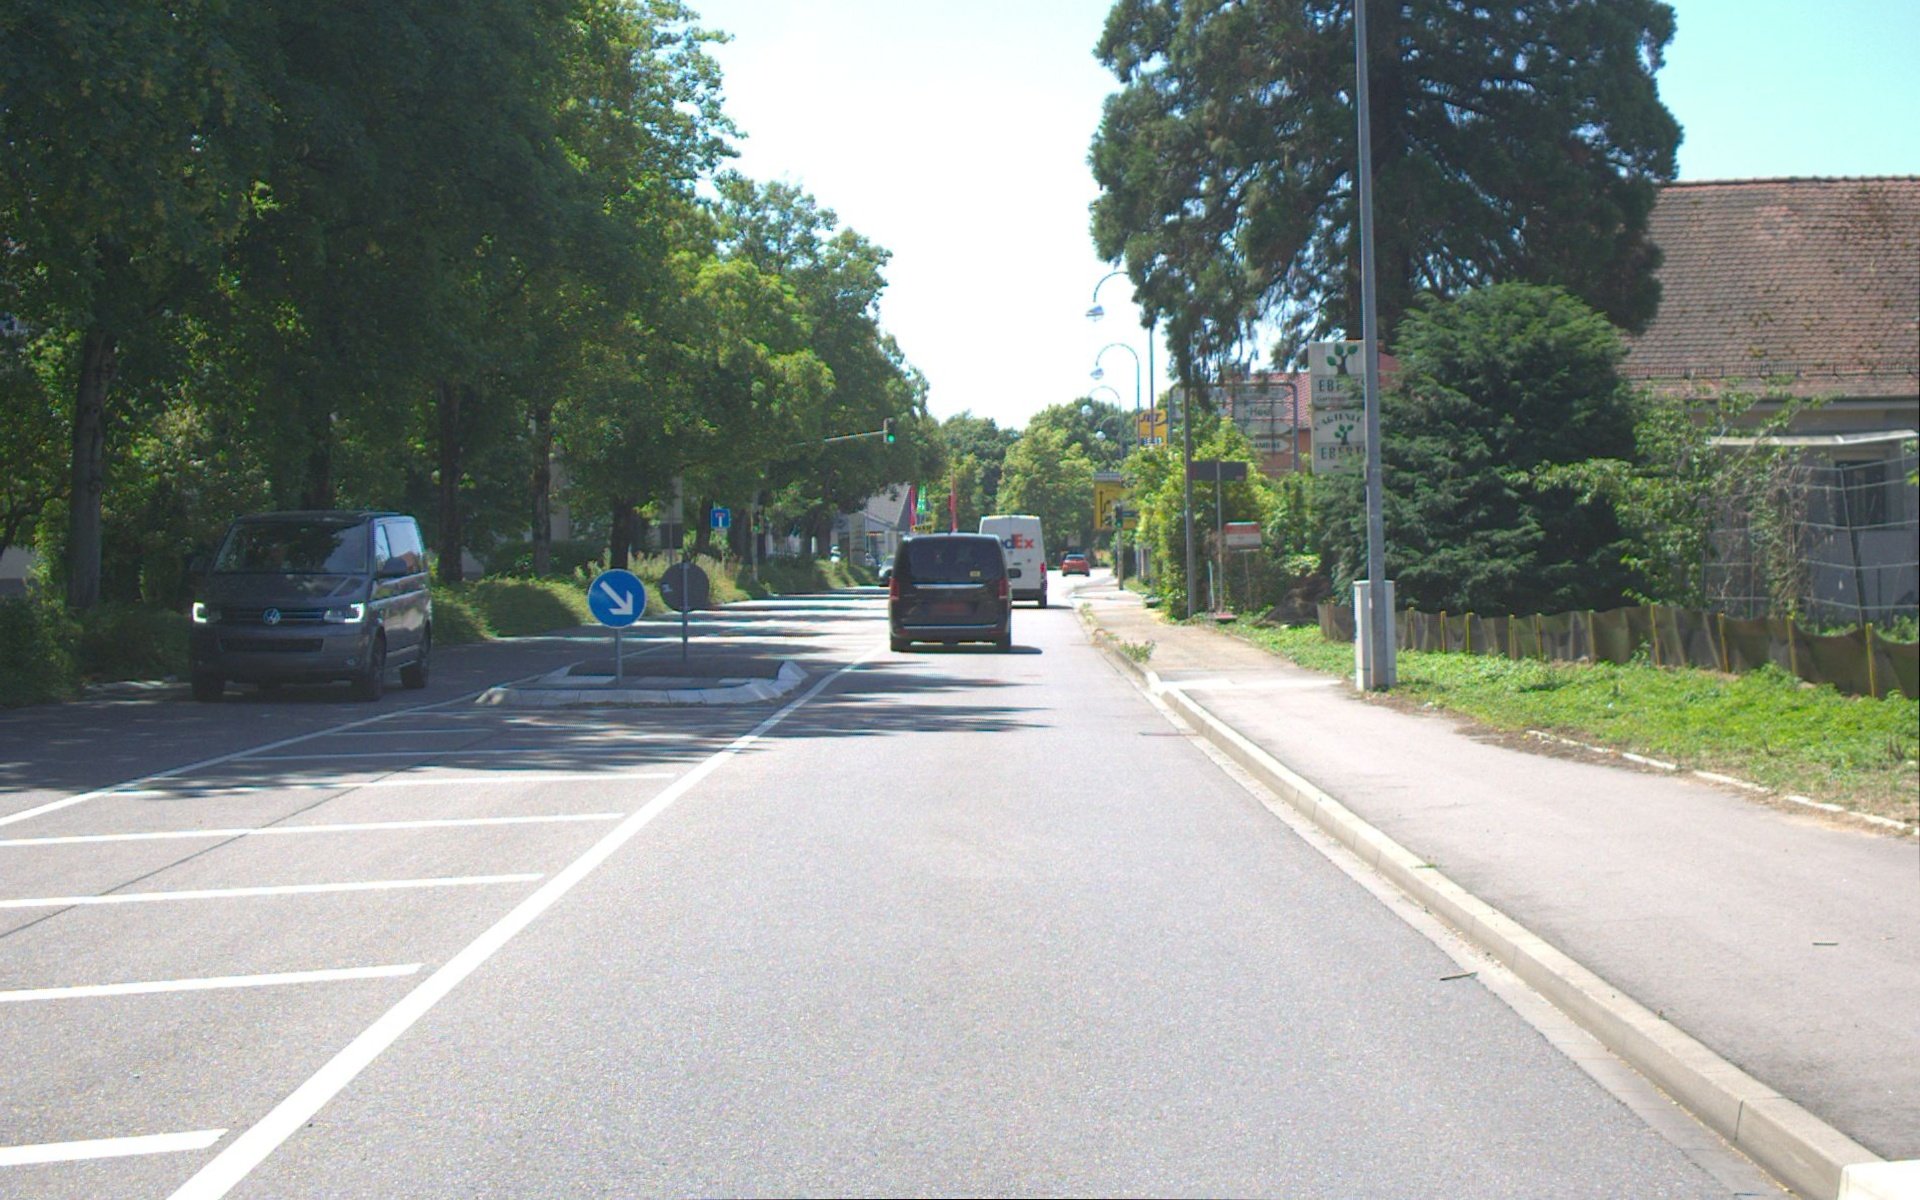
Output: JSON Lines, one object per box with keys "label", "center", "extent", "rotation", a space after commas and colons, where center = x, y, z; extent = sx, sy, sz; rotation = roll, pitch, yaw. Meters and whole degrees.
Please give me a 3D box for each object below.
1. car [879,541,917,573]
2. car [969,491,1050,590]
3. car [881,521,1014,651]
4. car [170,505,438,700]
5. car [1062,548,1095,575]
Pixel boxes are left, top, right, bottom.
{"label": "car", "center": [-2.859, -1.995, 159.159], "extent": [1.722, 1.422, 4.148], "rotation": [0, 1, 0]}
{"label": "car", "center": [1.434, -1.732, 97.456], "extent": [2.120, 2.668, 5.662], "rotation": [1, 2, 2]}
{"label": "car", "center": [-0.226, -0.255, 54.000], "extent": [1.993, 1.886, 4.001], "rotation": [0, 2, -1]}
{"label": "car", "center": [-6.865, -0.047, 36.496], "extent": [1.993, 1.903, 4.992], "rotation": [0, 2, -1]}
{"label": "car", "center": [7.749, -2.533, 225.613], "extent": [1.857, 1.637, 4.001], "rotation": [0, 2, -3]}
